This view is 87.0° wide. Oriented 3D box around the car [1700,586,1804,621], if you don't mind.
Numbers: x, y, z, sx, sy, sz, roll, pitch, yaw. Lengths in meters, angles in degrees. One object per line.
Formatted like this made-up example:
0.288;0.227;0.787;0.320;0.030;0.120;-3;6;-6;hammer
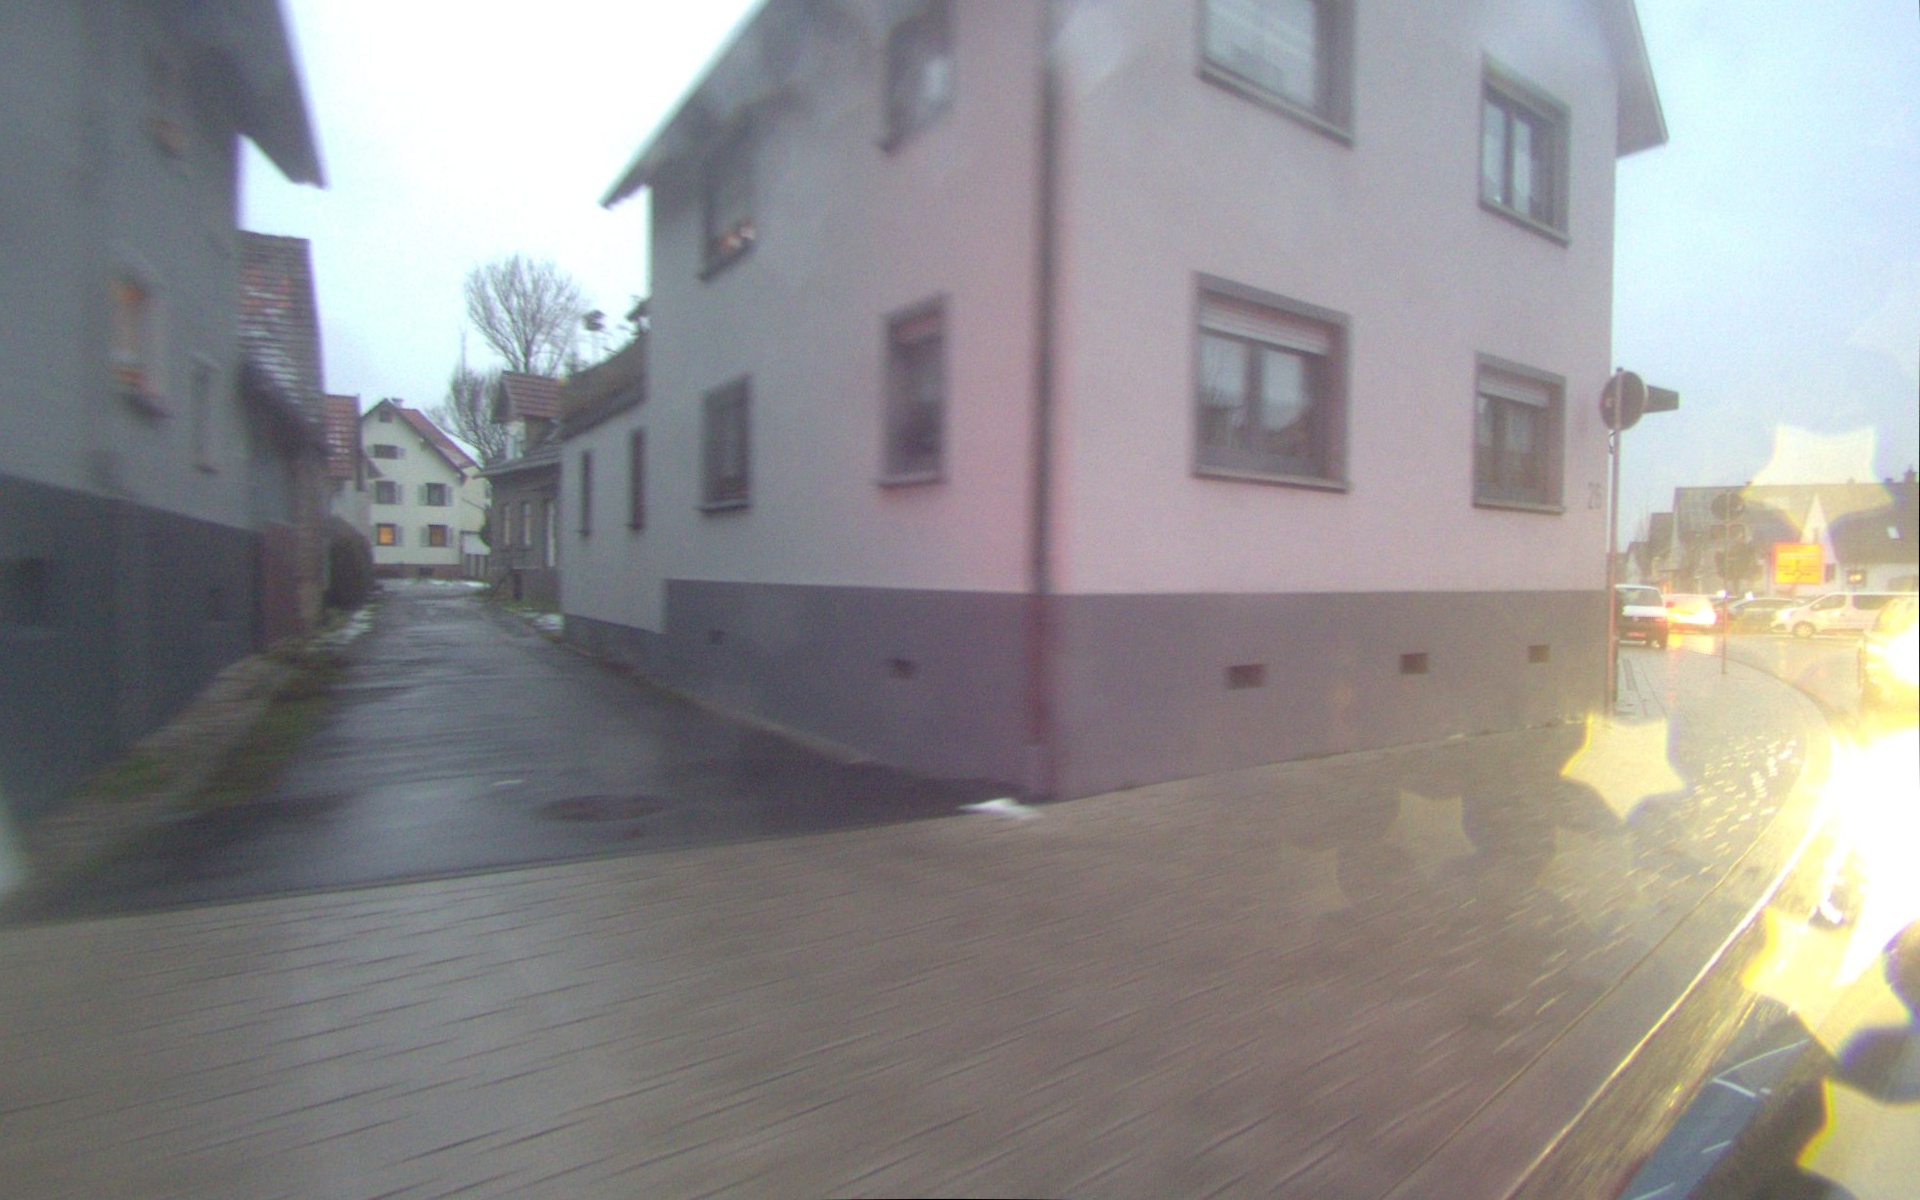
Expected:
46.908;0.183;60.056;4.462;1.890;1.856;2;1;21;car

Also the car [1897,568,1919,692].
15.227;0.409;14.612;4.983;1.663;2.266;0;1;-45;car

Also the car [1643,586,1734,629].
34.241;0.306;47.751;1.926;1.771;4.825;3;2;17;car

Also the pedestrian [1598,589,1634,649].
19.119;0.538;29.510;0.707;1.720;0.798;2;1;23;pedestrian

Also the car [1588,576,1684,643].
21.878;0.262;32.945;1.960;1.984;4.806;2;1;27;car

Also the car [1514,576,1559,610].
46.094;-0.567;81.002;2.175;2.522;6.100;1;1;21;car

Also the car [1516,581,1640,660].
13.877;0.404;22.923;1.719;1.580;3.637;2;1;22;car

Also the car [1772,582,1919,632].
37.213;0.274;41.669;5.741;1.971;1.966;0;-1;35;car

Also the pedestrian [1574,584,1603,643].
18.519;0.381;29.820;0.575;1.690;0.784;2;1;25;pedestrian

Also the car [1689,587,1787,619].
48.057;0.166;62.621;4.373;1.824;1.832;2;1;21;car

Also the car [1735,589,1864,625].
44.369;0.382;53.623;4.826;1.705;1.984;2;0;23;car
